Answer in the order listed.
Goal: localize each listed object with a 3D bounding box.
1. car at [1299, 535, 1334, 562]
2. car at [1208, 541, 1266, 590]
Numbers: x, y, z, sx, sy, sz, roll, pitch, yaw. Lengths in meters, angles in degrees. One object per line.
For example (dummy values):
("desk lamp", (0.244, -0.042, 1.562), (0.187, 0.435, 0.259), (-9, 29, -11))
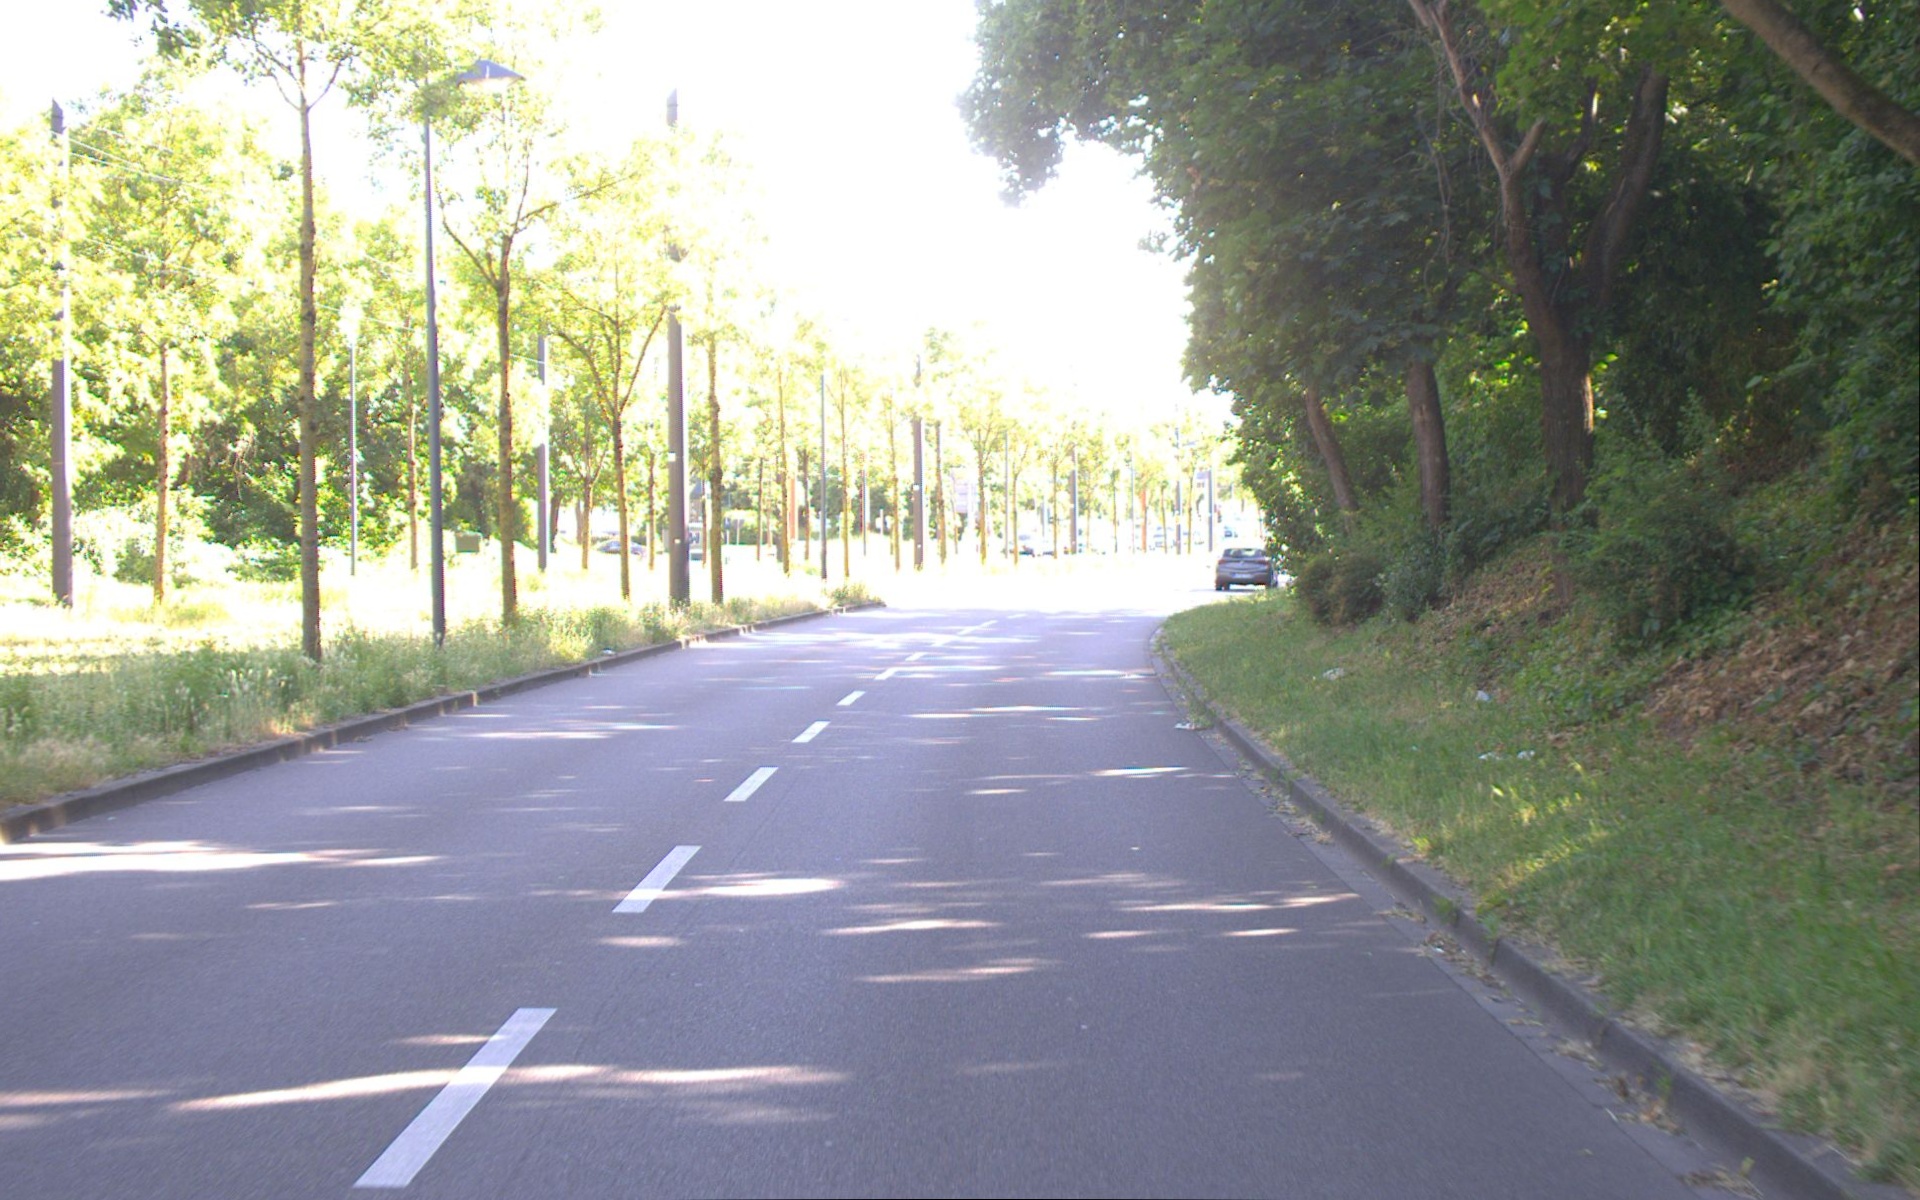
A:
("car", (19.988, -2.893, 192.577), (1.635, 1.493, 4.233), (1, 1, 10))
("car", (8.736, -1.103, 108.150), (1.634, 1.493, 4.233), (1, 1, 7))
